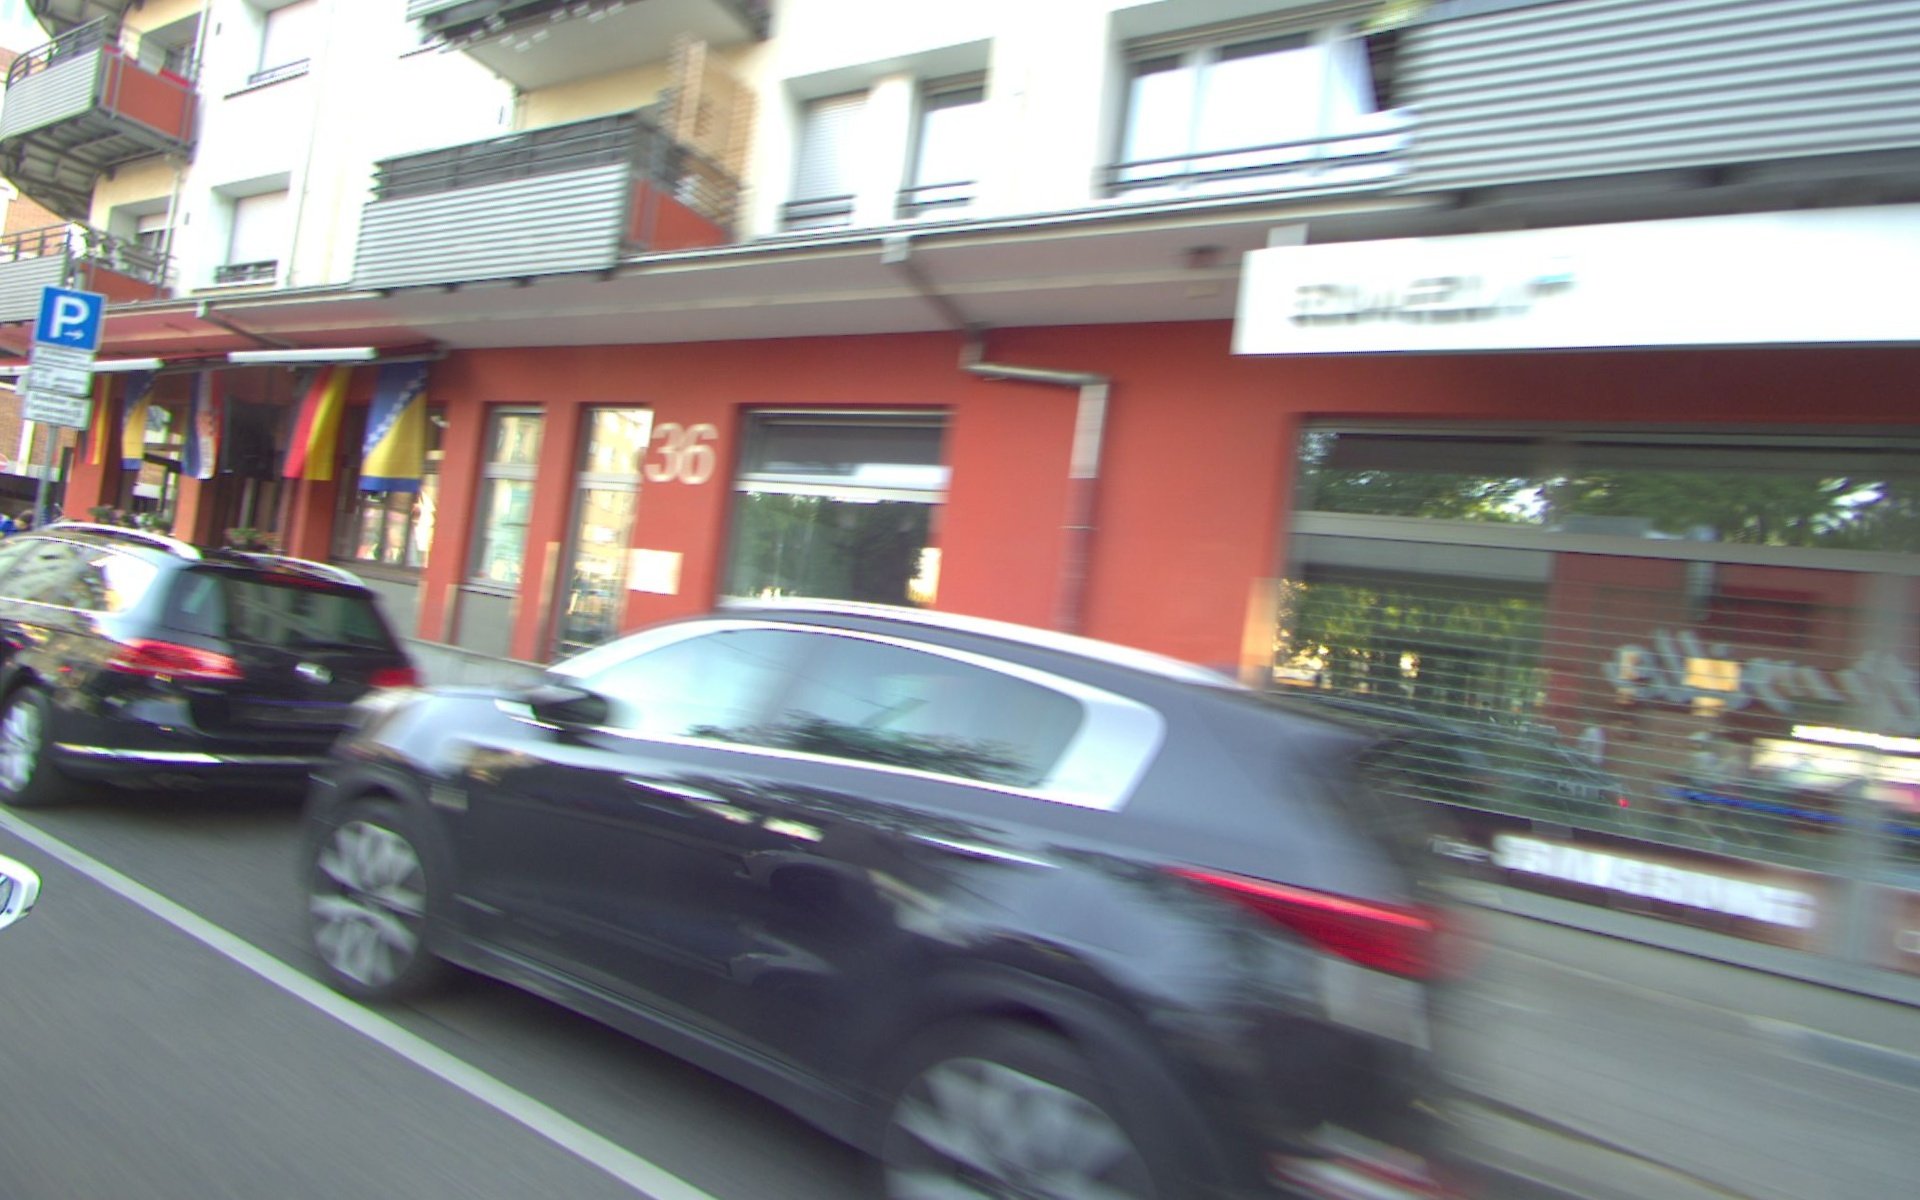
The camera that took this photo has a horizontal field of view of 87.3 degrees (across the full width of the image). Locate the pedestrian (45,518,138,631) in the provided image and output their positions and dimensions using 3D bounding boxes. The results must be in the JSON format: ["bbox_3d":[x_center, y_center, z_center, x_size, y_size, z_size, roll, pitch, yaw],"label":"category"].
[{"bbox_3d":[-10.860,-0.315,12.588,0.600,1.302,0.686,7,0,39],"label":"pedestrian"}]

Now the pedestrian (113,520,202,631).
[{"bbox_3d":[-10.744,-0.320,13.470,0.684,1.364,0.608,7,0,29],"label":"pedestrian"}]

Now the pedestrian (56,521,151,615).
[{"bbox_3d":[-12.395,-0.454,14.566,0.702,1.239,0.780,7,1,30],"label":"pedestrian"}]

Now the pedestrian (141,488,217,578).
[{"bbox_3d":[-15.663,-1.336,20.193,0.675,1.624,0.716,8,-2,4],"label":"pedestrian"}]

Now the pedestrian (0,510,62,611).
[{"bbox_3d":[-12.537,-0.532,13.268,0.483,1.273,0.860,7,1,30],"label":"pedestrian"}]

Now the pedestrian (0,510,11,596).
[{"bbox_3d":[-14.761,-0.731,15.028,0.502,1.293,0.627,6,1,-7],"label":"pedestrian"}]

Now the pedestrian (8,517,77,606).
[{"bbox_3d":[-13.323,-0.557,14.620,0.529,1.217,0.417,6,2,-13],"label":"pedestrian"}]

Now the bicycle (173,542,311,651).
[{"bbox_3d":[-8.816,-0.052,12.337,1.713,1.167,0.537,5,-1,26],"label":"bicycle"}]

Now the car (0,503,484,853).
[{"bbox_3d":[-5.486,0.282,6.602,4.710,1.518,1.771,7,-4,31],"label":"car"}]

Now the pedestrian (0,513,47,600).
[{"bbox_3d":[-13.970,-0.645,14.821,0.560,1.217,0.417,6,1,-11],"label":"pedestrian"}]

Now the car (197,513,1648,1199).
[{"bbox_3d":[-0.517,0.850,3.681,4.709,1.659,1.771,7,-4,30],"label":"car"}]

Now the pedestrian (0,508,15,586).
[{"bbox_3d":[-16.274,-0.920,16.855,0.514,1.291,0.489,7,-1,43],"label":"pedestrian"}]

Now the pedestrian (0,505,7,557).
[{"bbox_3d":[-17.628,-1.113,17.917,0.611,1.294,0.697,8,-1,-22],"label":"pedestrian"}]
